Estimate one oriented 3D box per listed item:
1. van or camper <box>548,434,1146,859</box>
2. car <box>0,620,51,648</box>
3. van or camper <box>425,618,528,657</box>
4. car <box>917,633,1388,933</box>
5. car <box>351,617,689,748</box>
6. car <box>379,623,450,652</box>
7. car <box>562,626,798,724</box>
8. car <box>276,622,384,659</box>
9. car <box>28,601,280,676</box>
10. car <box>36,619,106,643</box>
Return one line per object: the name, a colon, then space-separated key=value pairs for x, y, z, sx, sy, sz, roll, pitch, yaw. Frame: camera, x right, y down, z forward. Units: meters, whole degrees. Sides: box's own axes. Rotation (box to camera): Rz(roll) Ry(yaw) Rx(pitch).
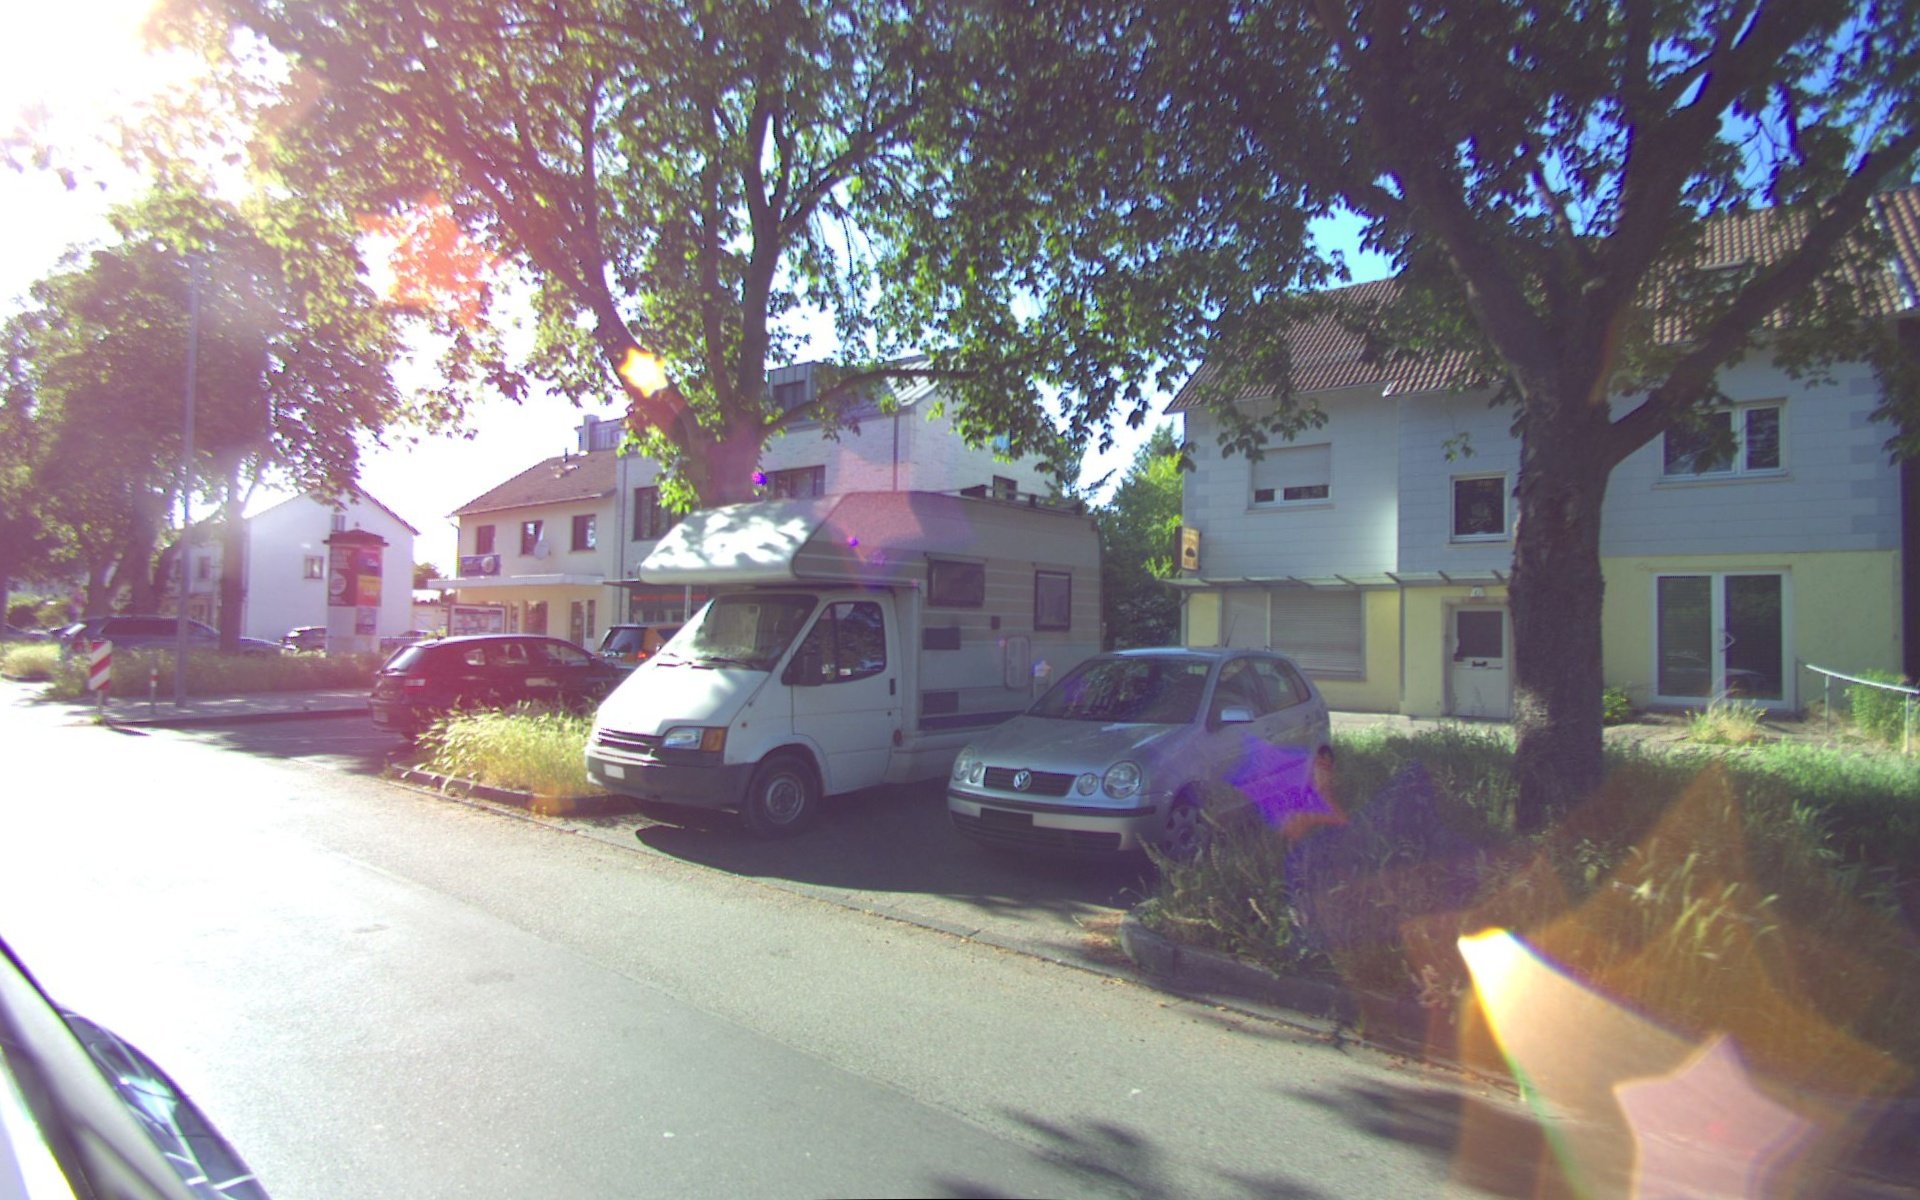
van or camper: x=-0.626 y=0.258 z=9.530 sx=1.999 sy=2.826 sz=5.715 roll=0 pitch=1 yaw=41
car: x=-50.115 y=1.742 z=52.352 sx=1.998 sy=1.426 sz=4.338 roll=0 pitch=-1 yaw=39
van or camper: x=-26.391 y=2.041 z=55.343 sx=1.997 sy=2.029 sz=4.628 roll=0 pitch=-3 yaw=37
car: x=1.708 y=1.092 z=7.831 sx=1.997 sy=1.469 sz=3.949 roll=0 pitch=1 yaw=38
car: x=-5.877 y=1.000 z=13.857 sx=1.639 sy=1.460 sz=3.943 roll=0 pitch=0 yaw=43
car: x=-33.011 y=2.258 z=61.152 sx=4.659 sy=1.539 sz=1.856 roll=2 pitch=-1 yaw=35
car: x=-5.052 y=1.289 z=18.743 sx=1.865 sy=1.554 sz=3.953 roll=0 pitch=-1 yaw=34
car: x=-30.748 y=1.990 z=49.464 sx=1.995 sy=1.650 sz=3.954 roll=0 pitch=-4 yaw=34
car: x=-21.750 y=0.962 z=27.521 sx=1.996 sy=1.741 sz=5.016 roll=0 pitch=1 yaw=36
car: x=-66.283 y=2.332 z=75.510 sx=1.691 sy=1.577 sz=3.723 roll=0 pitch=-4 yaw=43
